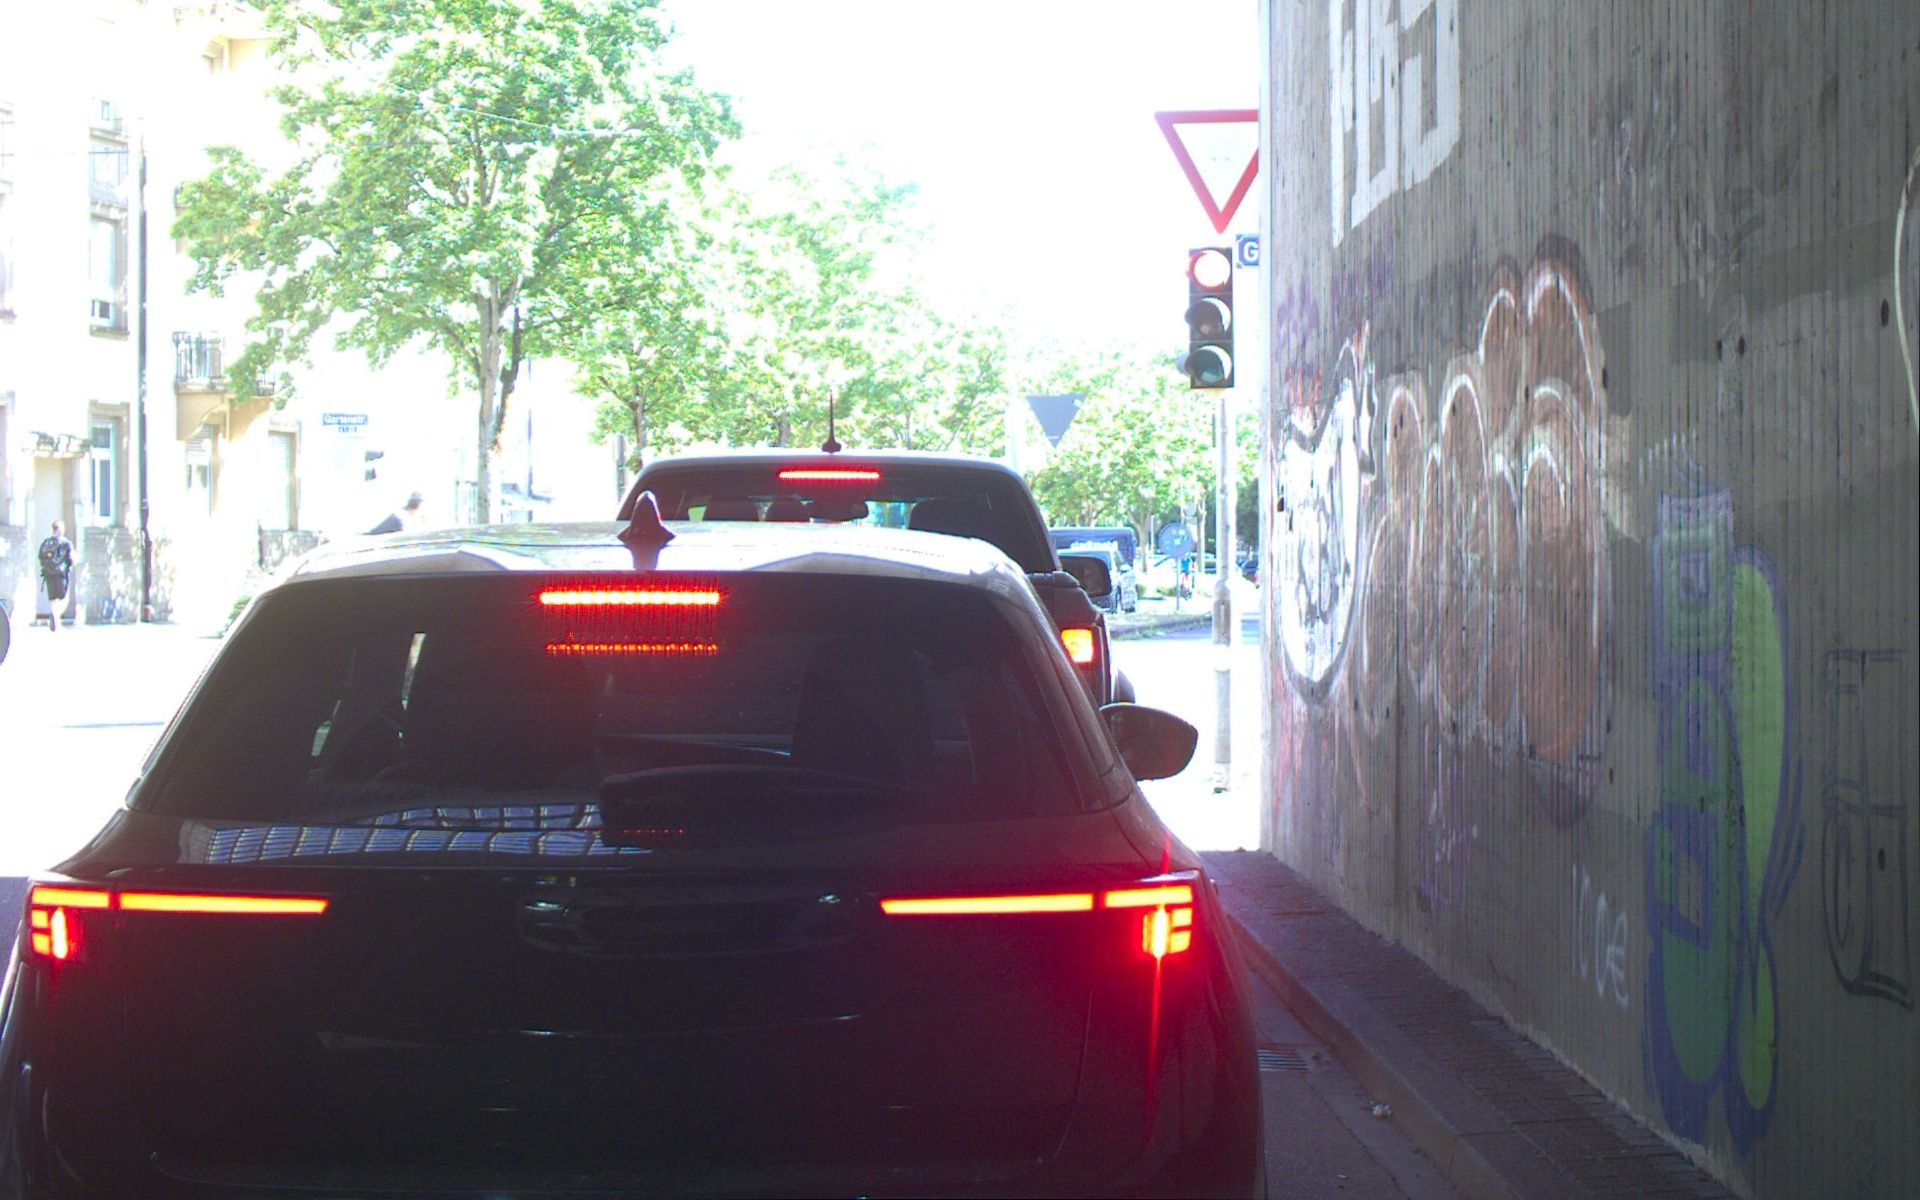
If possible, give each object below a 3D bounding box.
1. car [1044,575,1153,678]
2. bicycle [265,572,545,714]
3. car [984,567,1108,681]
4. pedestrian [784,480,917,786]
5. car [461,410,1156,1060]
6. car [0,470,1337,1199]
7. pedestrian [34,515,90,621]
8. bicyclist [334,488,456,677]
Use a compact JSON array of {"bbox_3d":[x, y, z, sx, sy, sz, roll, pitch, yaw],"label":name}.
[{"bbox_3d":[2.795,0.494,68.508,1.994,1.963,4.163,1,1,5],"label":"car"},{"bbox_3d":[-4.255,0.325,26.428,1.990,1.046,0.718,-1,0,7],"label":"bicycle"},{"bbox_3d":[1.597,0.400,62.290,1.994,1.963,4.163,1,1,5],"label":"car"},{"bbox_3d":[-0.628,0.183,19.986,0.731,1.728,0.874,1,0,-1],"label":"pedestrian"},{"bbox_3d":[-0.458,0.353,11.944,1.993,1.865,4.000,0,1,-1],"label":"car"},{"bbox_3d":[-0.473,0.568,6.049,1.764,1.566,4.001,1,2,-1],"label":"car"},{"bbox_3d":[-13.992,-0.492,53.589,0.672,1.632,0.740,1,0,-1],"label":"pedestrian"},{"bbox_3d":[-4.344,-0.137,26.453,0.738,1.418,0.685,-1,0,6],"label":"bicyclist"}]
